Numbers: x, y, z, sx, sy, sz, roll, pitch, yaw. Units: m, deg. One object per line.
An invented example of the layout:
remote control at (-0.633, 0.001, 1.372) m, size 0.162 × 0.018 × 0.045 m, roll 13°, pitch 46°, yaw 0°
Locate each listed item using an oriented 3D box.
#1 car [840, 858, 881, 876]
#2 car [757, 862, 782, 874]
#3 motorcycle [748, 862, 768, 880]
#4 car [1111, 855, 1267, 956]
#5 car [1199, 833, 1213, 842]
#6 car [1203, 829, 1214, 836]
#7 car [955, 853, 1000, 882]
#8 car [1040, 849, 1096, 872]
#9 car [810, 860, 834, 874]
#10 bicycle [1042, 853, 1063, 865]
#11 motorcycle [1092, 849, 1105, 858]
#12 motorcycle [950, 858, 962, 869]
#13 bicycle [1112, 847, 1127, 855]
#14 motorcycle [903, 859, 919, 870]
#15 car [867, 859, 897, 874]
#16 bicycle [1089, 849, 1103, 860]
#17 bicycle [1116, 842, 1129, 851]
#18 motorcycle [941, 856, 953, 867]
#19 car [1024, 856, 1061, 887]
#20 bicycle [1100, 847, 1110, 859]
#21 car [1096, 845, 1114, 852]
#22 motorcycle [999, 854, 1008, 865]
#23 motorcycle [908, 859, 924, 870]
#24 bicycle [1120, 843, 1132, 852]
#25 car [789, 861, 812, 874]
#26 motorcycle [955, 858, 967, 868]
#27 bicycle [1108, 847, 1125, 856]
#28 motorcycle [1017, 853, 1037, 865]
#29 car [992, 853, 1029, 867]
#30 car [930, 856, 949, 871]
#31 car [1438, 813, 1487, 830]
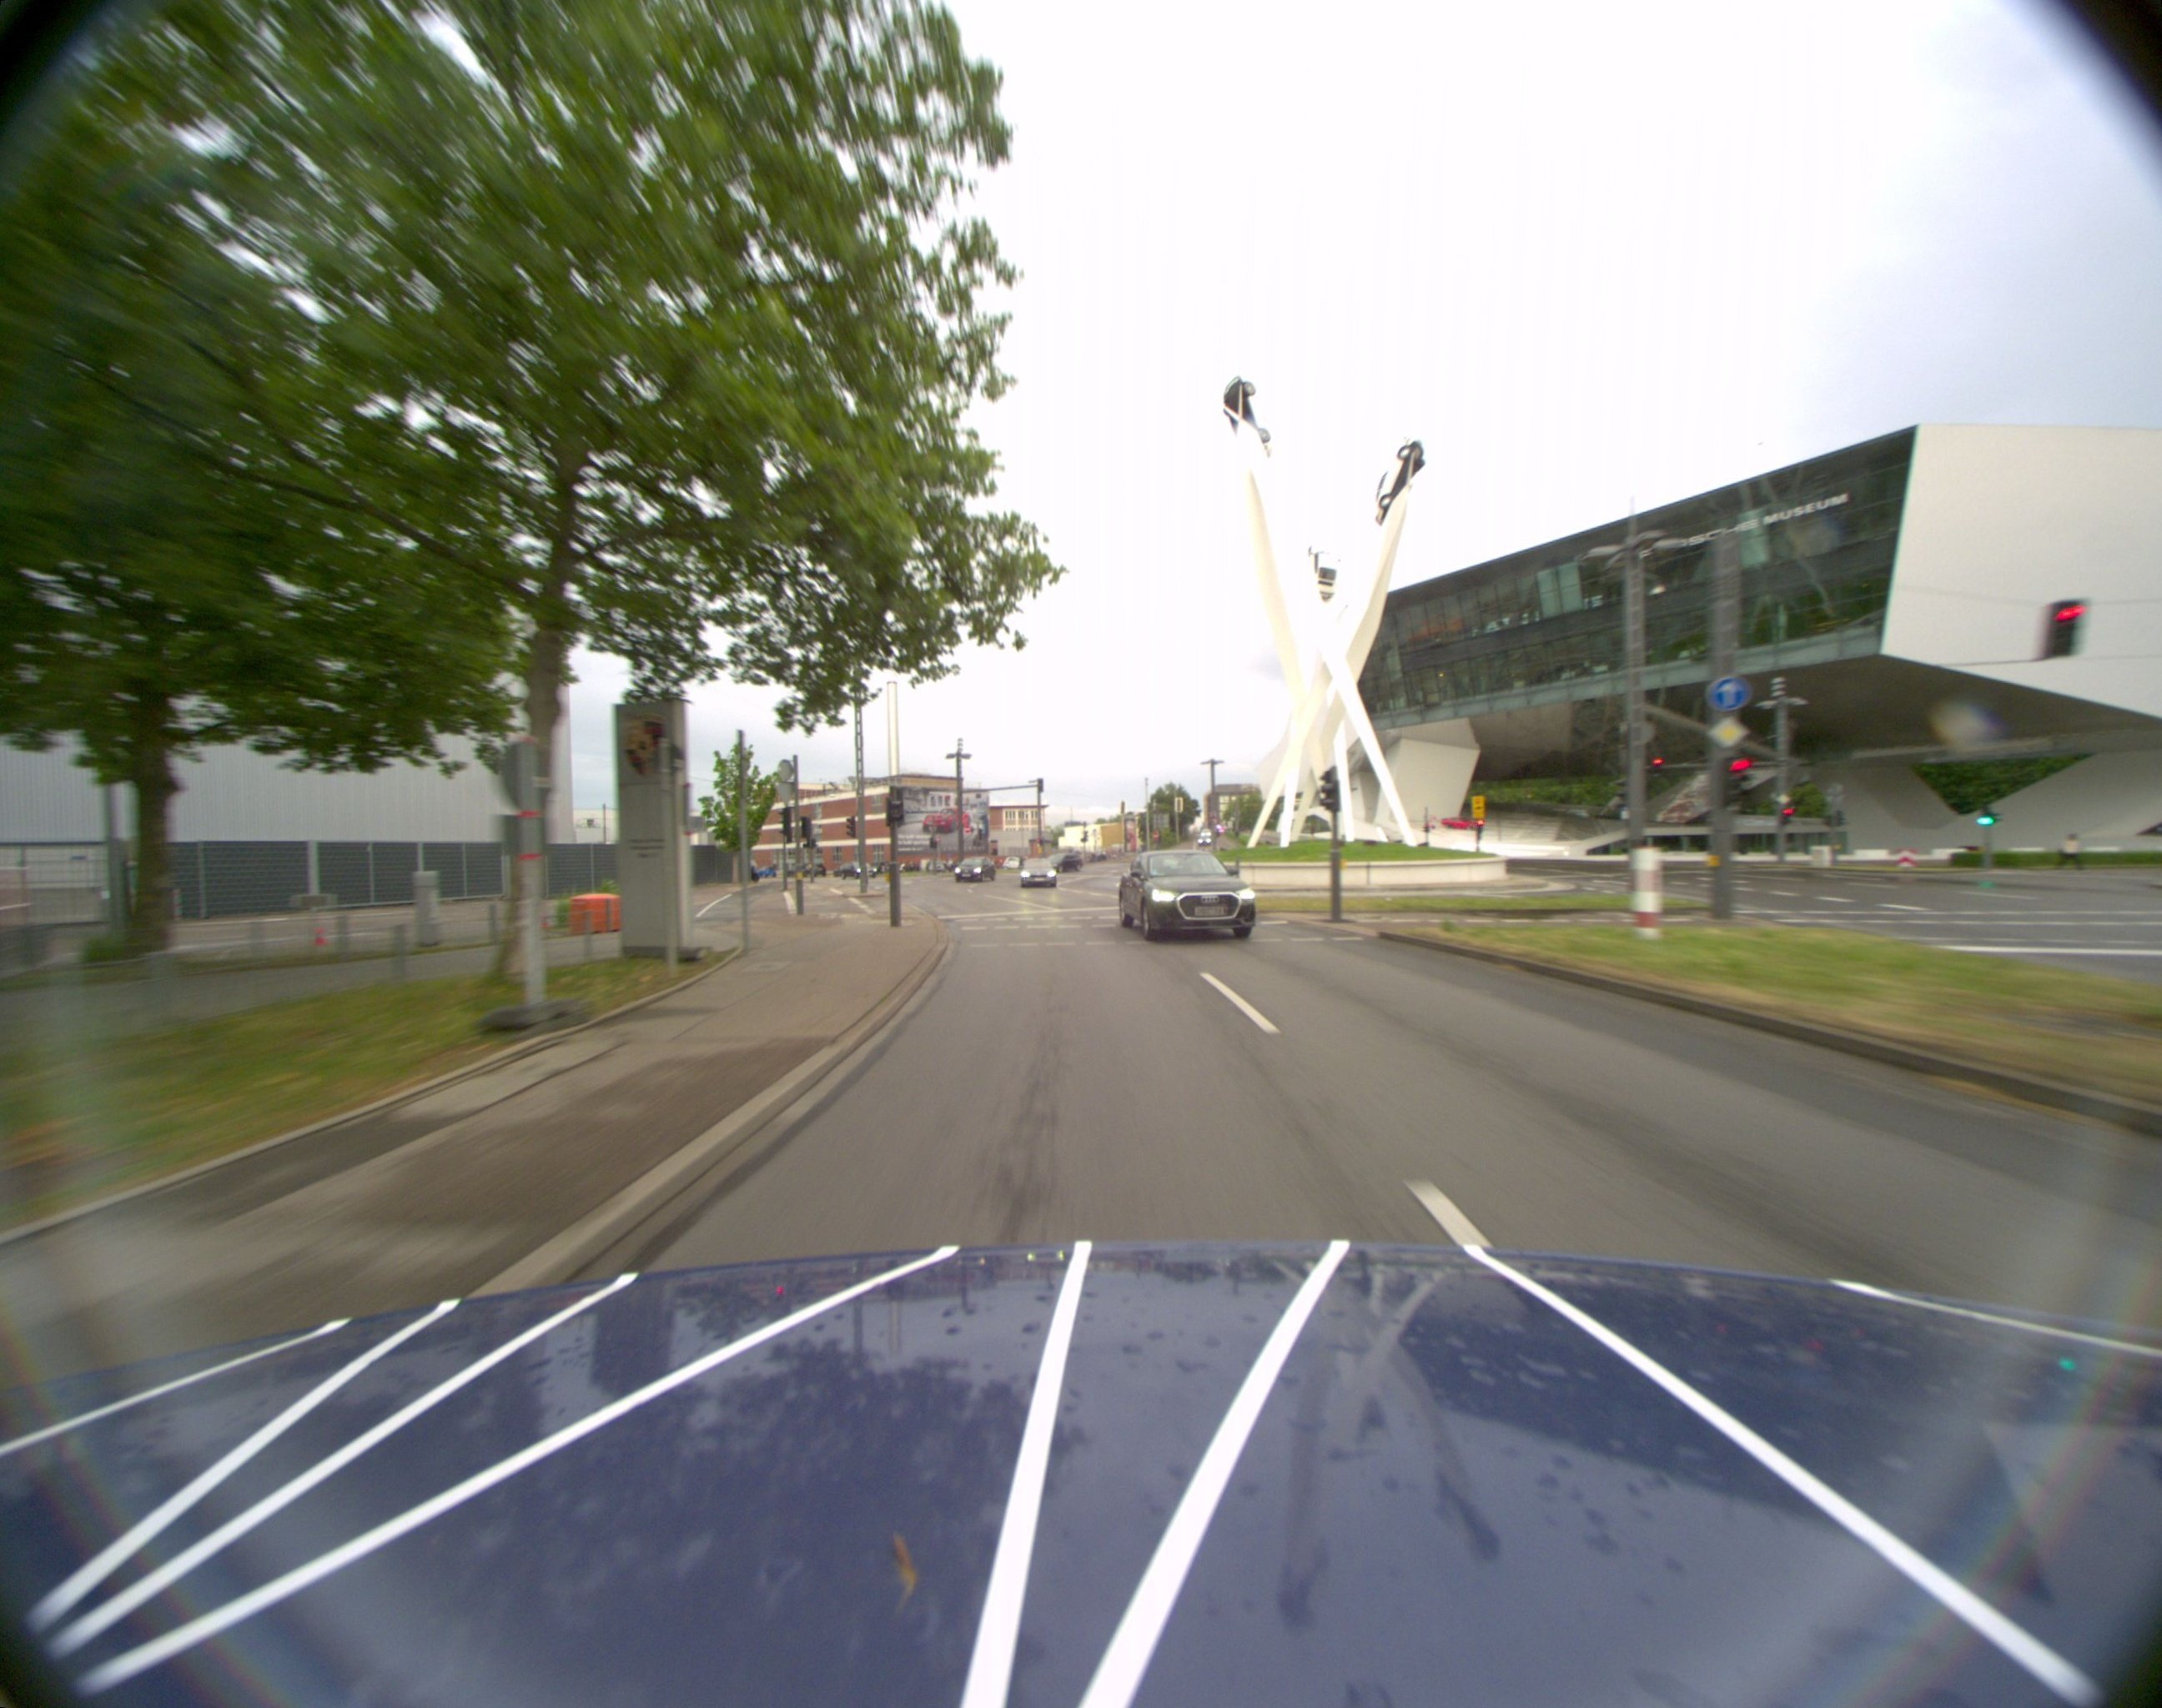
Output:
car at (-18.441, 1.101, 63.471) m, size 1.724 × 1.417 × 3.989 m, roll -3°, pitch 1°, yaw -40°
car at (-42.125, 1.888, 102.819) m, size 3.379 × 1.436 × 1.700 m, roll -1°, pitch 4°, yaw 42°
motorcycle at (-23.531, 1.231, 55.310) m, size 0.657 × 1.303 × 2.095 m, roll -3°, pitch 1°, yaw -43°
car at (1.804, 0.812, 14.185) m, size 1.758 × 1.509 × 4.391 m, roll -2°, pitch 1°, yaw -7°
car at (19.693, -2.614, 120.099) m, size 1.816 × 1.430 × 4.303 m, roll -1°, pitch 0°, yaw 5°
car at (27.056, -4.568, 161.040) m, size 1.816 × 1.430 × 4.303 m, roll -1°, pitch 0°, yaw 5°
car at (-6.276, 0.793, 46.522) m, size 1.693 × 1.499 × 4.011 m, roll -3°, pitch 2°, yaw 7°
car at (-1.012, 0.471, 59.487) m, size 4.075 × 1.466 × 1.745 m, roll -5°, pitch 3°, yaw -40°
car at (-31.289, 1.556, 91.592) m, size 1.461 × 1.436 × 3.455 m, roll -6°, pitch 4°, yaw -41°
bicycle at (-2.866, 0.501, 76.310) m, size 2.076 × 1.124 × 0.420 m, roll -5°, pitch 4°, yaw -33°
motorcycle at (1.900, -0.077, 82.378) m, size 0.546 × 0.890 × 1.747 m, roll 0°, pitch 4°, yaw 33°
motorcycle at (-13.303, 1.008, 80.779) m, size 0.496 × 1.140 × 1.719 m, roll -6°, pitch 3°, yaw -34°
bicycle at (4.337, -0.333, 86.174) m, size 1.613 × 0.916 × 0.422 m, roll -1°, pitch 2°, yaw 22°
motorcycle at (-19.050, 1.126, 85.232) m, size 1.650 × 1.105 × 0.543 m, roll -5°, pitch 4°, yaw -36°
car at (-21.285, 1.326, 81.173) m, size 2.745 × 1.484 × 1.557 m, roll -2°, pitch -1°, yaw 26°
bicycle at (1.565, 0.057, 80.123) m, size 0.346 × 1.078 × 1.747 m, roll 1°, pitch 4°, yaw 44°
bicycle at (5.102, -0.905, 93.554) m, size 1.543 × 1.149 × 0.451 m, roll 0°, pitch 4°, yaw 6°
motorcycle at (-15.167, 0.884, 86.048) m, size 0.545 × 1.174 × 1.708 m, roll -6°, pitch 4°, yaw -40°
car at (-2.038, 0.870, 39.379) m, size 1.817 × 1.430 × 4.300 m, roll -1°, pitch 0°, yaw -4°
bicycle at (2.618, -0.141, 82.382) m, size 0.399 × 1.169 × 2.017 m, roll -1°, pitch 3°, yaw 20°
car at (5.452, -1.238, 172.414) m, size 3.998 × 1.417 × 1.720 m, roll -3°, pitch 1°, yaw -4°
motorcycle at (-9.603, 0.664, 94.009) m, size 0.523 × 1.326 × 1.670 m, roll -3°, pitch 3°, yaw 11°
motorcycle at (-18.394, 1.125, 84.588) m, size 1.604 × 1.114 × 0.543 m, roll -5°, pitch 4°, yaw -36°
bicycle at (5.442, -0.776, 91.788) m, size 1.463 × 1.068 × 0.442 m, roll -2°, pitch 4°, yaw -20°
car at (-35.154, 1.694, 95.156) m, size 1.461 × 1.436 × 3.379 m, roll -6°, pitch 4°, yaw -41°
motorcycle at (-13.747, 1.041, 87.158) m, size 0.477 × 1.113 × 1.804 m, roll -6°, pitch 4°, yaw -38°
bicycle at (3.879, -0.298, 83.428) m, size 1.742 × 0.956 × 0.422 m, roll -1°, pitch 4°, yaw 18°
motorcycle at (-5.468, 0.505, 77.290) m, size 2.089 × 1.139 × 0.489 m, roll -2°, pitch 3°, yaw 31°
car at (-8.201, 0.713, 88.611) m, size 3.991 × 1.481 × 1.570 m, roll -2°, pitch 1°, yaw 19°
car at (-14.947, 0.973, 80.180) m, size 1.626 × 1.495 × 3.243 m, roll -3°, pitch 1°, yaw -14°
car at (41.866, -3.610, 83.434) m, size 2.003 × 1.378 × 4.229 m, roll -3°, pitch 9°, yaw -36°
